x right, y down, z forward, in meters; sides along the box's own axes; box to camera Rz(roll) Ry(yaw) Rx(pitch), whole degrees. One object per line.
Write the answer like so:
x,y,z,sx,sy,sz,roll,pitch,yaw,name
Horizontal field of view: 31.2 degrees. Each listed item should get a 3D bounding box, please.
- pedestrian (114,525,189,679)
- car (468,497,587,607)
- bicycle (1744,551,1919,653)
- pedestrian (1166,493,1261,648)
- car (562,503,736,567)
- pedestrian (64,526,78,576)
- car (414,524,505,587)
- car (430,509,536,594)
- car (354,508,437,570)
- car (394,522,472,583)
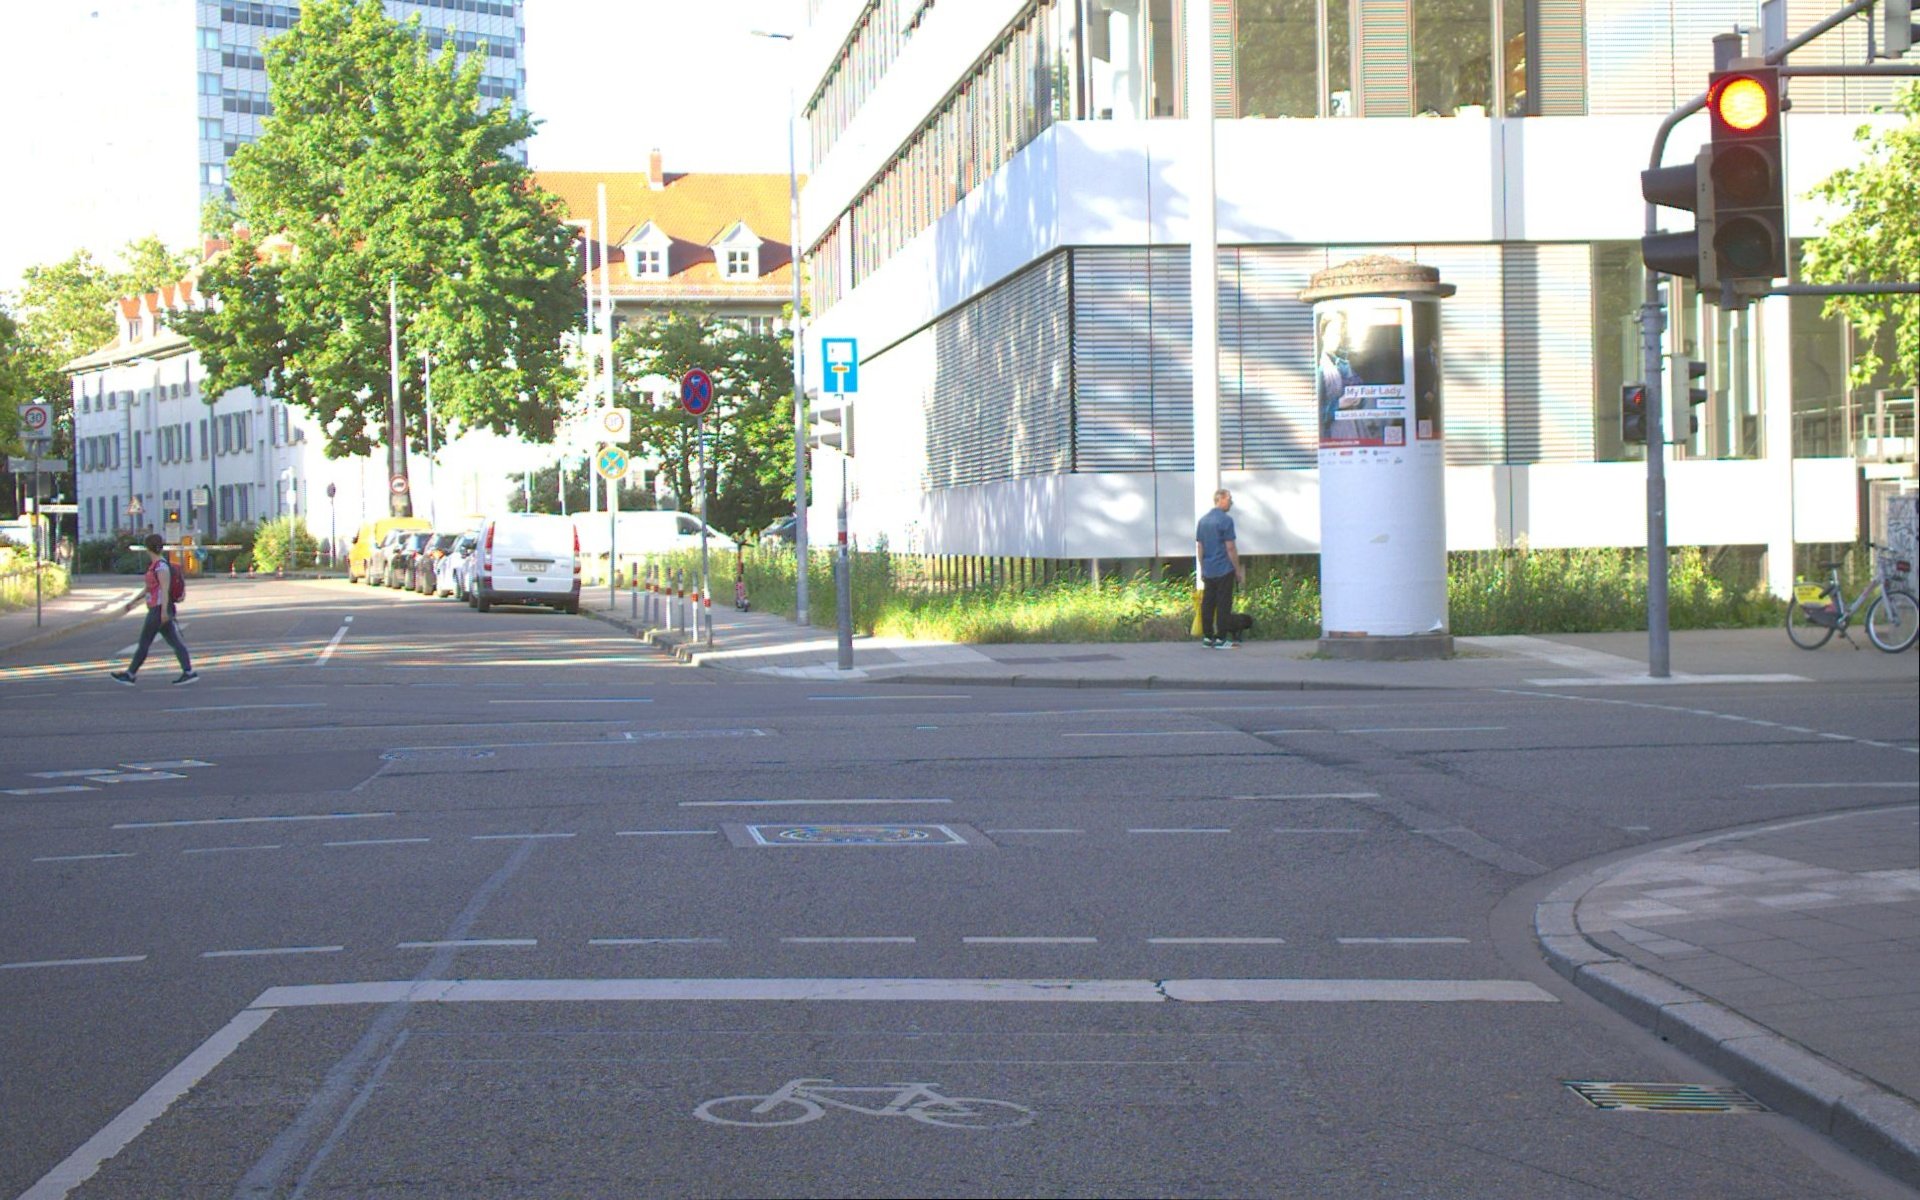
-8.536,0.011,36.308,0.711,1.594,0.617,-1,1,-11,pedestrian
-8.166,-0.924,64.653,2.066,1.956,4.239,-1,1,-9,car
9.181,0.013,36.128,0.463,1.045,1.914,-2,2,-42,bicycle
2.866,-0.338,38.853,0.811,1.730,0.653,0,2,45,pedestrian
-9.307,-1.942,102.839,4.880,1.865,2.001,0,0,-16,car
-27.504,-1.515,106.341,0.380,1.529,0.446,-1,1,-12,pedestrian
-11.837,-1.072,81.139,1.703,1.419,4.239,-1,1,-14,car
-10.619,-1.094,76.355,1.946,1.789,4.239,-1,1,-13,car
-15.736,-1.703,95.666,2.100,1.652,4.477,-1,1,-11,car
-13.185,-1.207,85.849,1.703,1.459,4.239,-1,1,-11,car
